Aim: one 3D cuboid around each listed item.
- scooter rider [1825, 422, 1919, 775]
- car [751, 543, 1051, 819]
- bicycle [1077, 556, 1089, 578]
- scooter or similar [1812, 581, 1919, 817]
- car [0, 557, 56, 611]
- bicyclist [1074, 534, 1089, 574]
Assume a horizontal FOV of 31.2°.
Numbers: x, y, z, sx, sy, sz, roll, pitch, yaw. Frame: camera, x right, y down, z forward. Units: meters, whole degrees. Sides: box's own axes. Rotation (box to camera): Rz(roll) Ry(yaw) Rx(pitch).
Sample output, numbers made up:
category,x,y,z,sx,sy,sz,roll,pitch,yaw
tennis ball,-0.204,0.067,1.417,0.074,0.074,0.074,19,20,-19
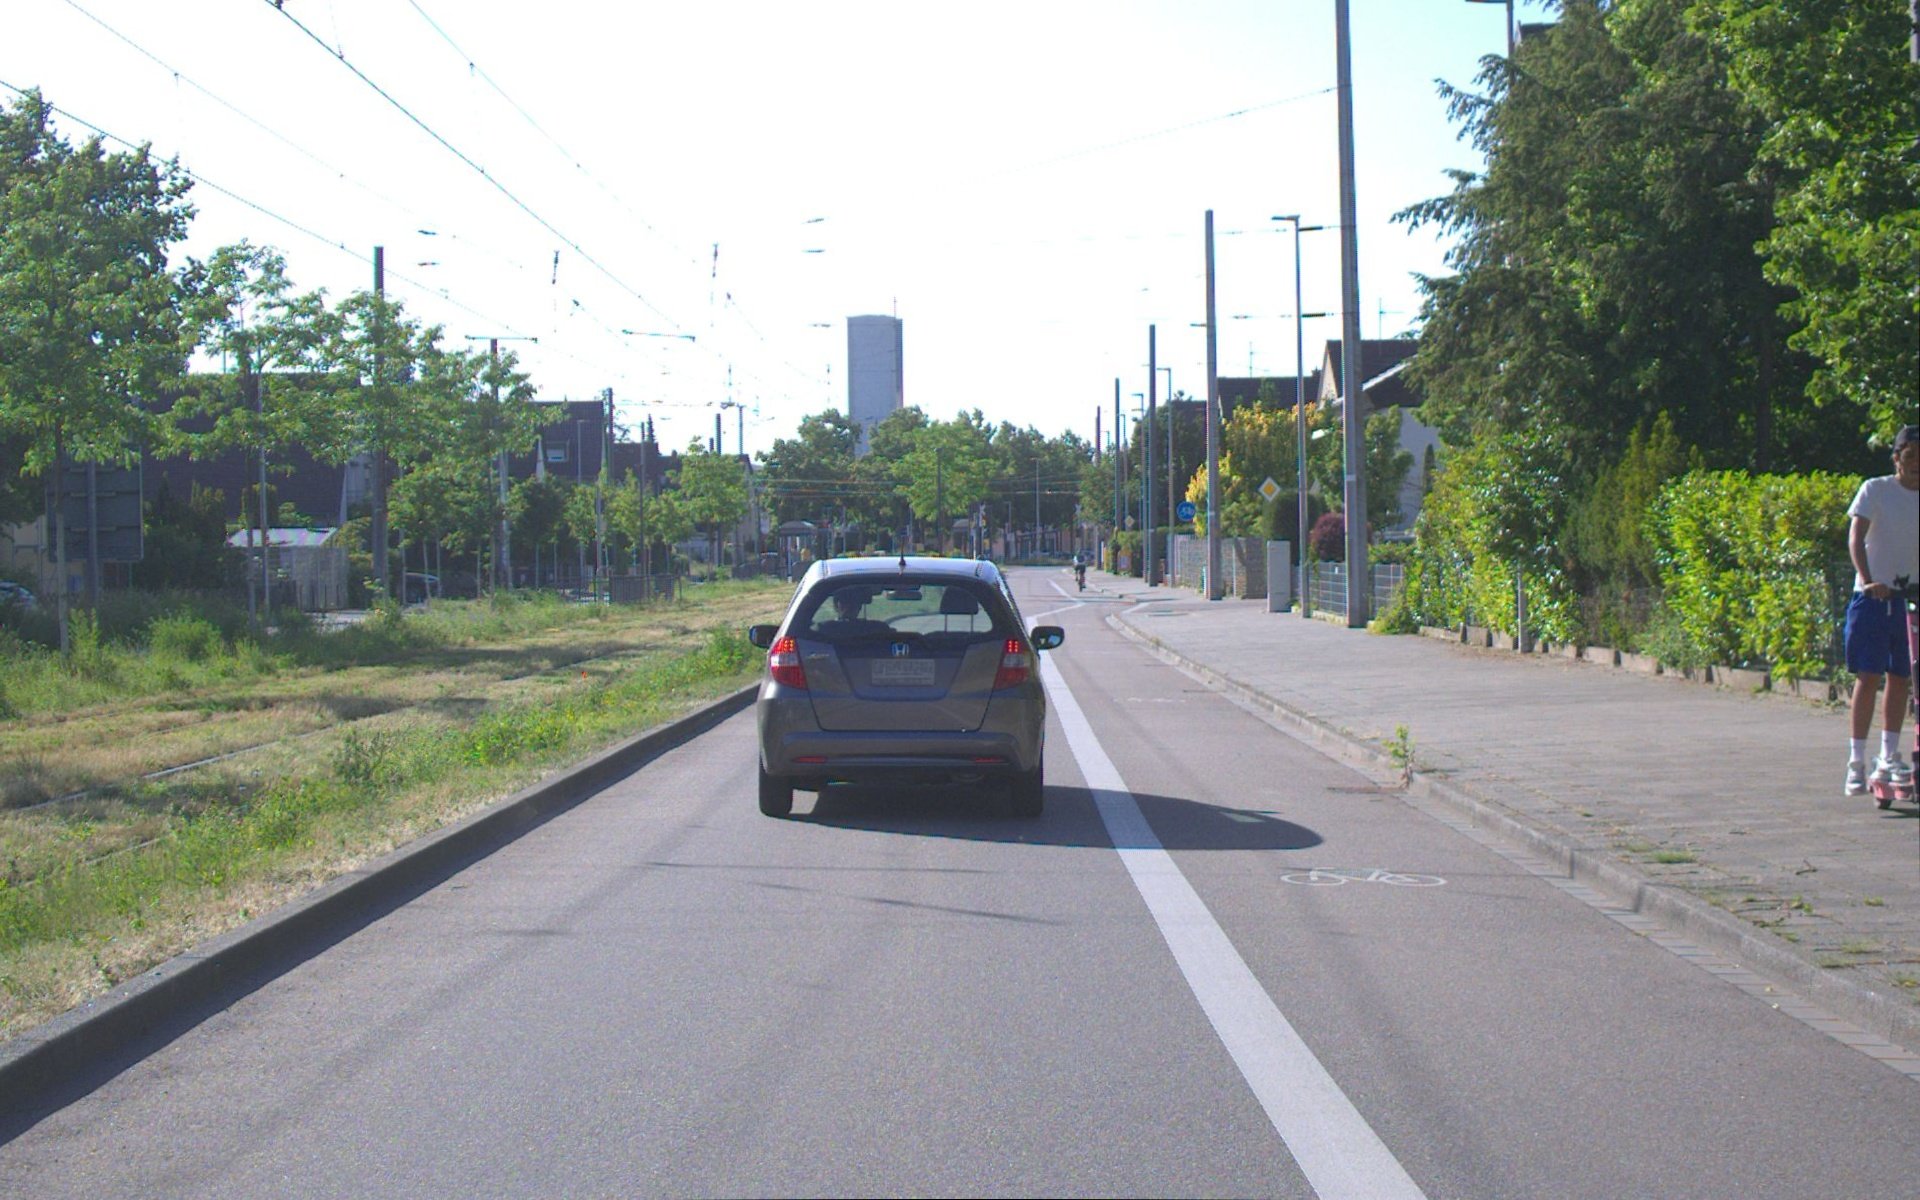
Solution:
category,x,y,z,sx,sy,sz,roll,pitch,yaw
scooter rider,4.758,-0.012,17.467,0.550,1.761,0.599,0,1,-1
car,-0.353,0.441,21.104,1.670,1.530,3.487,1,1,-1
bicycle,5.204,-1.398,145.938,0.475,0.958,1.657,1,1,1
scooter or similar,4.665,0.483,17.452,0.348,1.133,1.208,-1,1,-1
car,-27.045,-0.405,94.302,3.987,1.399,1.853,-1,-1,0
bicyclist,5.168,-1.960,145.815,0.598,1.695,0.683,1,0,1
